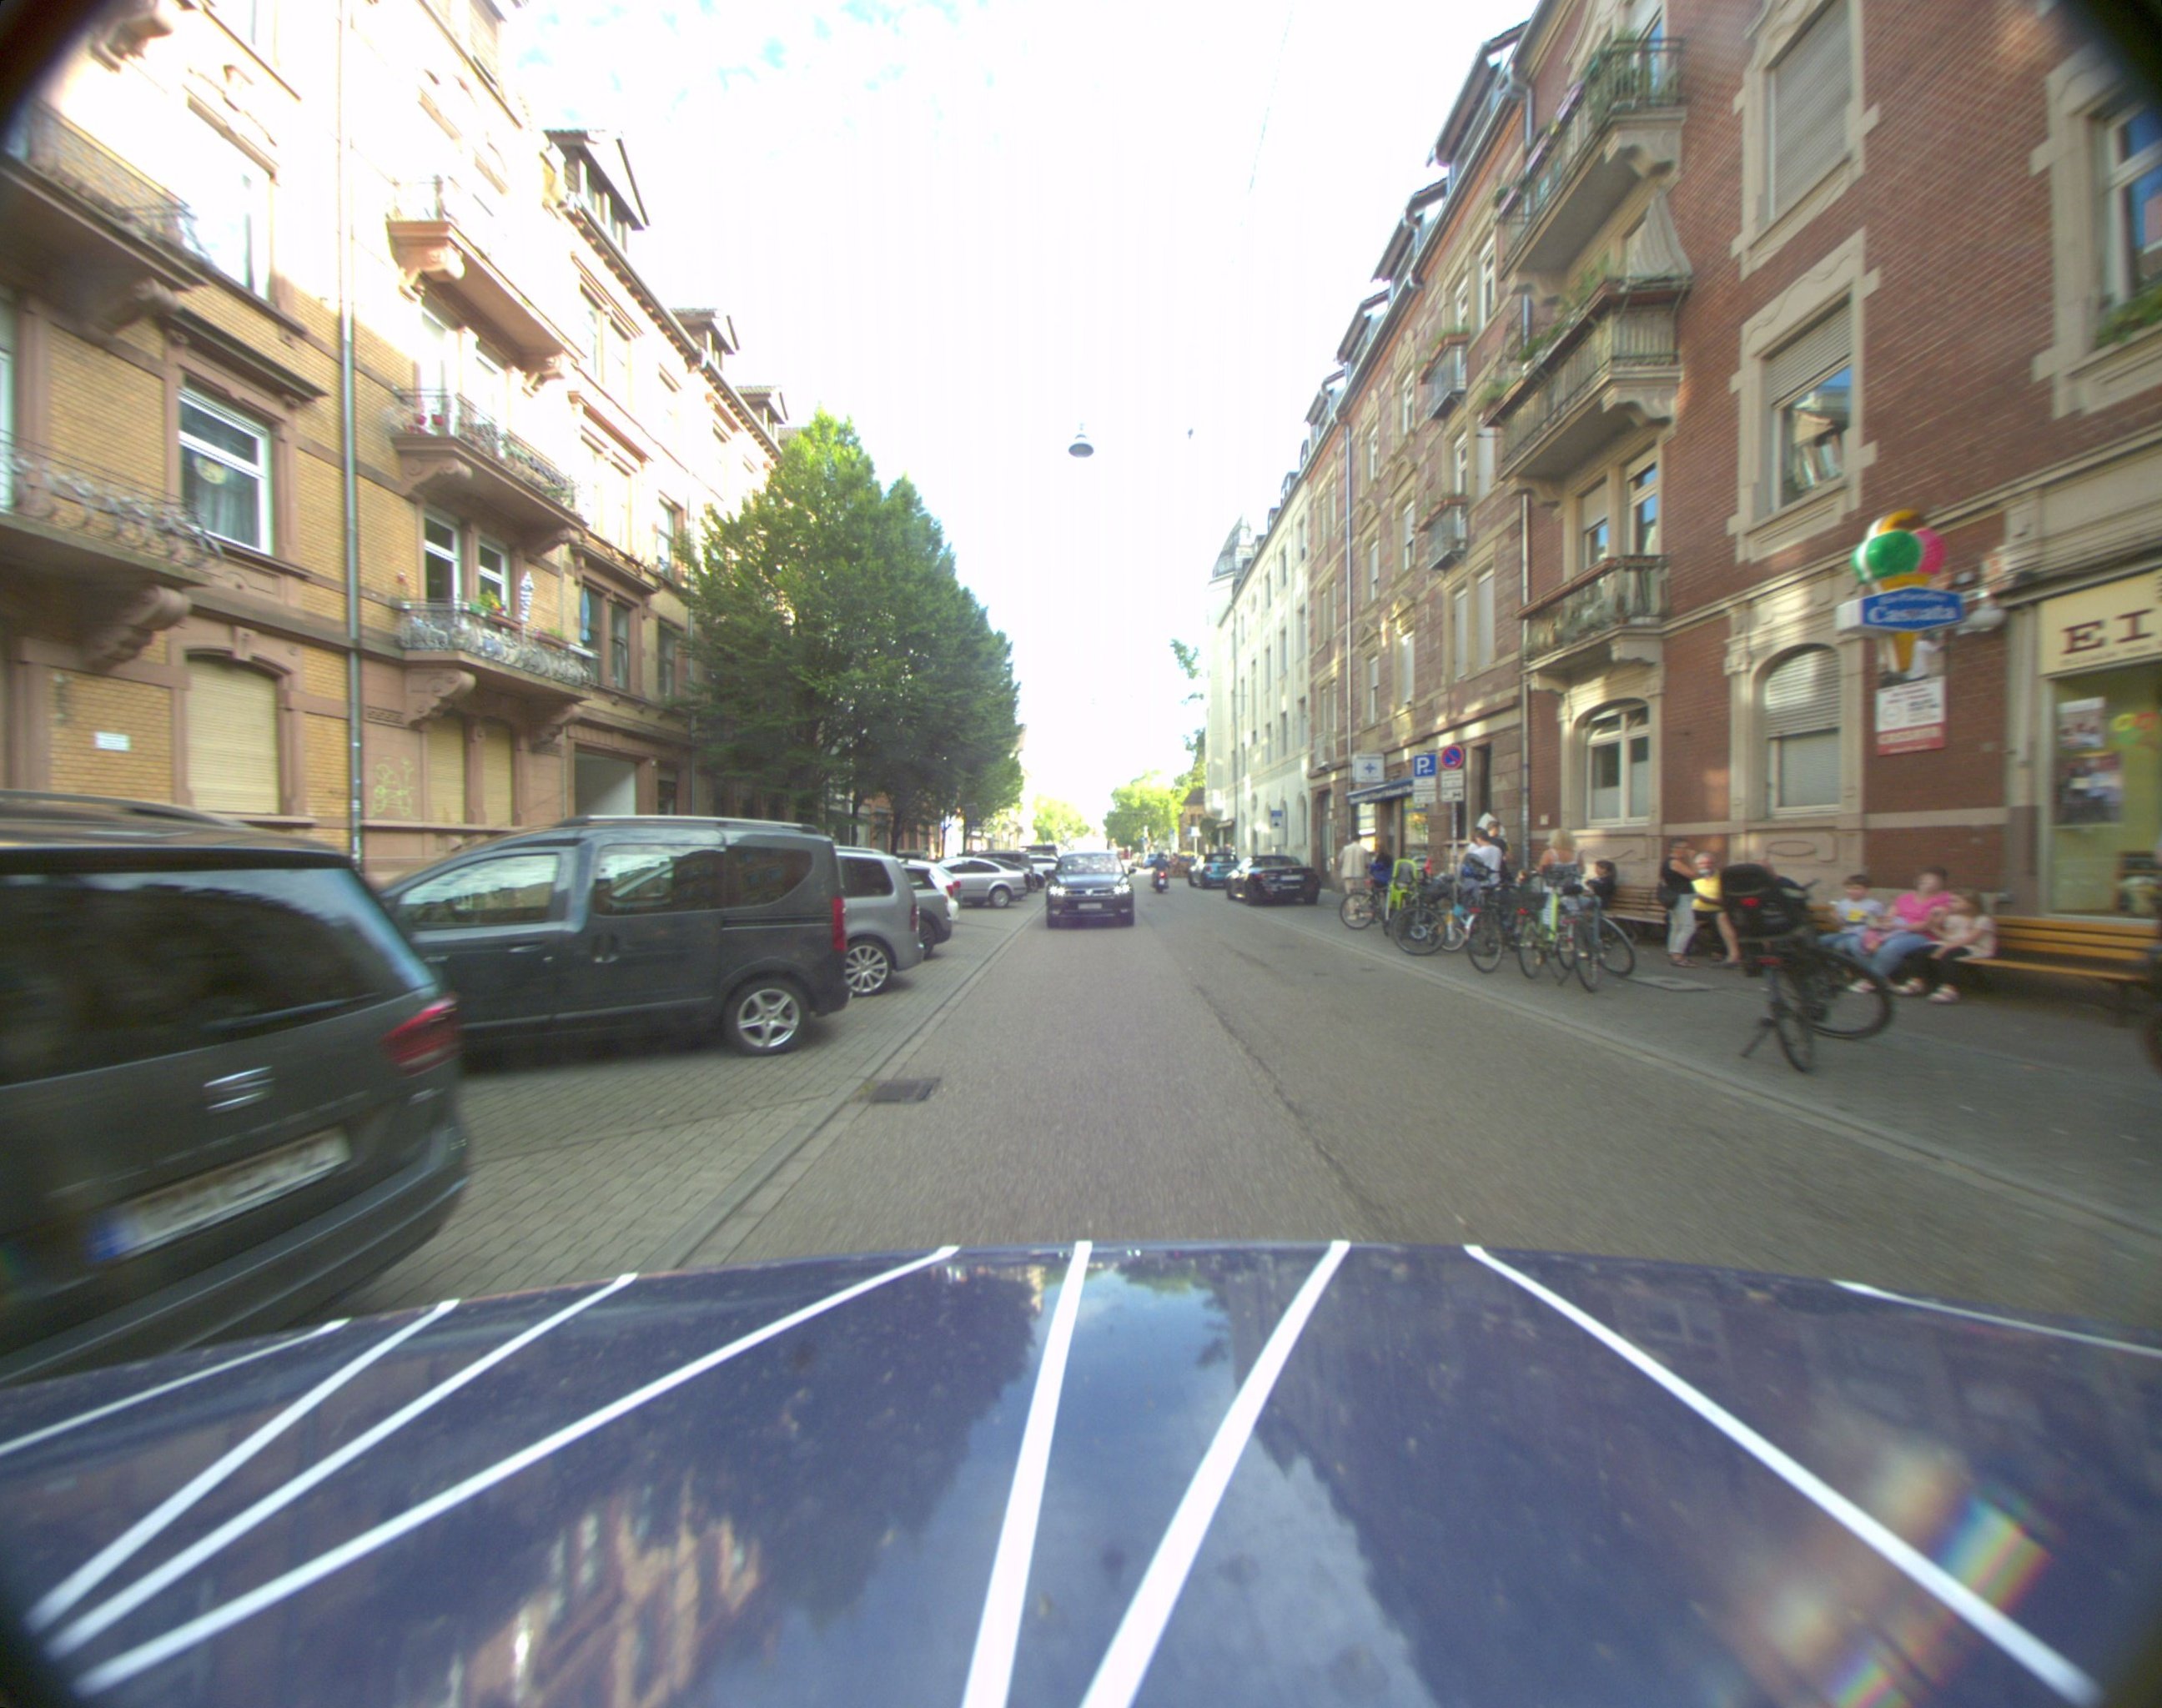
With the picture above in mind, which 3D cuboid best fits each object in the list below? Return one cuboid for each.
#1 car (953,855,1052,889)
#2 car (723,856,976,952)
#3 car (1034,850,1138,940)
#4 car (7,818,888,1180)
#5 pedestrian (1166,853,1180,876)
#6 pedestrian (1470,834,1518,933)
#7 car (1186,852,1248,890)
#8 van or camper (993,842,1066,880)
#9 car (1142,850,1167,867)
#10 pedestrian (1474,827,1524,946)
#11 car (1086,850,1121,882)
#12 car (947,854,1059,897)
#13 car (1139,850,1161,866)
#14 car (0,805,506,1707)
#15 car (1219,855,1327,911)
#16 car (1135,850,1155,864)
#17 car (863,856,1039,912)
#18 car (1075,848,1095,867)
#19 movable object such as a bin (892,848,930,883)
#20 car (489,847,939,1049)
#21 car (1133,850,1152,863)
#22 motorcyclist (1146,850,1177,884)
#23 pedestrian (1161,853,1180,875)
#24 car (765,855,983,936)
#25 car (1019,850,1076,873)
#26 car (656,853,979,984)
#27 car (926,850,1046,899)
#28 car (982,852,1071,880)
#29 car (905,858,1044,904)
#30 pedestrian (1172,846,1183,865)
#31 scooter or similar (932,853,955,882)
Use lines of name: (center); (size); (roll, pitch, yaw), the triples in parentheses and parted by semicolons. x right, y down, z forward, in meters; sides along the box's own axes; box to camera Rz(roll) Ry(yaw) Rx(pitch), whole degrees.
car: (-3.463, 0.794, 33.533); (4.006, 1.430, 1.721); (1, 0, -26)
car: (-4.112, 0.847, 13.630); (4.007, 1.442, 1.731); (2, 1, -31)
car: (0.261, 0.779, 16.652); (1.874, 1.644, 4.388); (-2, 0, 5)
car: (-3.894, 0.747, 5.660); (4.411, 1.812, 1.750); (1, 1, -30)
pedestrian: (5.558, 0.652, 45.987); (0.738, 1.341, 0.644); (-2, 1, 4)
pedestrian: (7.547, 0.528, 13.879); (0.688, 1.749, 0.667); (-1, 1, 31)
car: (5.543, 0.650, 31.471); (1.674, 1.407, 4.011); (-2, 0, -2)
van or camper: (-3.172, 0.381, 46.890); (4.006, 2.166, 1.995); (-2, 1, -29)
car: (6.554, 0.380, 67.907); (1.828, 1.477, 4.170); (-2, 0, 1)
pedestrian: (6.821, 0.521, 12.400); (0.646, 1.881, 0.602); (-1, 1, 31)
car: (1.312, 0.653, 42.693); (1.810, 1.622, 4.001); (-3, 0, 2)
car: (-3.126, 0.839, 30.889); (4.133, 1.512, 1.840); (-2, 2, -35)
car: (6.688, 0.350, 73.991); (1.911, 1.412, 4.000); (-2, 0, 1)
car: (-4.337, 0.725, 1.695); (4.648, 1.774, 1.810); (2, -1, 0)
car: (5.350, 0.735, 21.871); (1.816, 1.343, 5.115); (-1, 0, 0)
car: (6.747, 0.299, 80.486); (1.911, 1.412, 4.000); (-2, 0, 1)
car: (-3.672, 0.839, 21.783); (4.620, 1.443, 1.788); (1, 0, -31)
car: (0.444, 0.381, 81.329); (1.810, 1.914, 4.001); (-3, 0, 2)
movable object such as a bin: (-7.945, 0.536, 35.575); (1.375, 1.451, 1.164); (6, 1, -1)
car: (-3.783, 0.821, 8.305); (4.007, 1.731, 1.835); (1, 0, -29)
car: (7.087, 0.232, 87.475); (1.911, 1.412, 4.000); (-2, 0, 1)
motorcyclist: (3.064, 0.489, 28.852); (1.016, 1.238, 0.802); (-2, 1, -5)
pedestrian: (5.719, 0.617, 48.586); (1.088, 1.365, 0.895); (-2, 1, 9)
car: (-4.324, 0.809, 16.059); (4.008, 1.453, 1.882); (1, 1, -35)
car: (-2.666, 0.594, 60.747); (4.006, 1.663, 1.923); (-2, 1, -30)
car: (-3.715, 0.818, 10.975); (4.008, 1.539, 1.864); (2, 0, -36)
car: (-3.475, 0.714, 28.064); (4.007, 1.689, 1.848); (0, 0, -34)
car: (-3.151, 0.692, 44.349); (4.816, 1.535, 1.866); (1, 1, -31)
car: (-3.476, 0.844, 25.136); (4.145, 1.409, 1.864); (0, 0, -34)
pedestrian: (8.909, 0.099, 69.946); (0.845, 1.699, 0.879); (-2, 1, 1)
scooter or similar: (-6.654, 0.638, 36.745); (0.524, 1.372, 1.323); (-2, 1, 16)
